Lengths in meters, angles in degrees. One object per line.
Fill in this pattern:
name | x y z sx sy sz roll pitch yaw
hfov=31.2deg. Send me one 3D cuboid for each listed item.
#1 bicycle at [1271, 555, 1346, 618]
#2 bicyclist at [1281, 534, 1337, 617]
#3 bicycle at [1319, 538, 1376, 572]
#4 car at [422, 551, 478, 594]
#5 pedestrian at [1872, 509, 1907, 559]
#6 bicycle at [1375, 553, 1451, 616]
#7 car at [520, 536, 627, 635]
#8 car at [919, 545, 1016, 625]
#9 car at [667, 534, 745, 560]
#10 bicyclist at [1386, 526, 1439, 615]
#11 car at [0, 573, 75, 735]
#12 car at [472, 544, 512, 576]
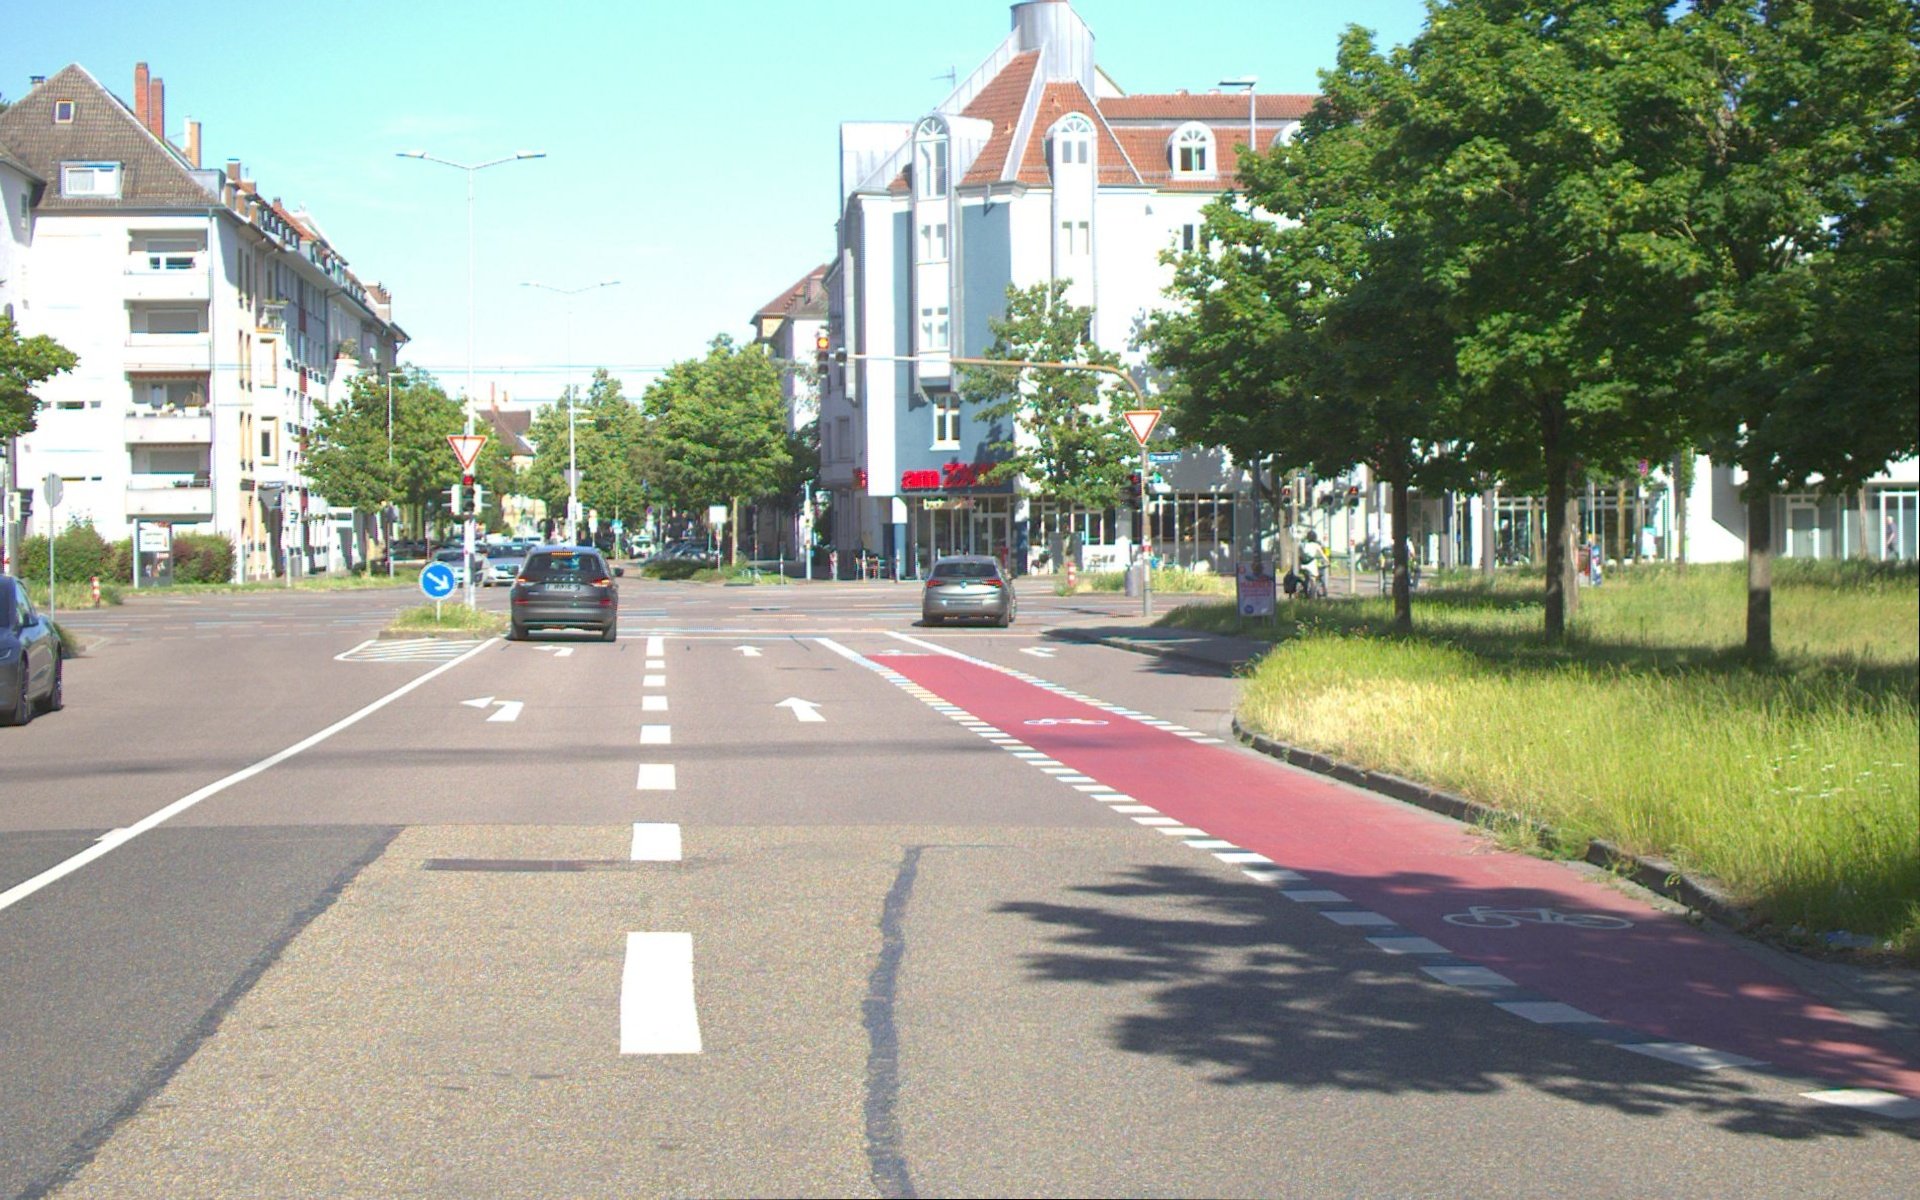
bicycle | 7.764 -0.311 76.600 0.792 1.343 2.075 -1 1 32
bicyclist | 7.787 -0.559 76.651 0.792 1.818 1.133 -1 1 33
bicycle | 13.557 -1.575 120.257 1.863 1.178 0.562 -1 1 -9
car | -19.050 -1.029 128.456 1.753 1.551 3.731 2 1 -4
pedestrian | 32.319 -2.291 119.573 0.989 1.717 0.654 -1 1 -6
bicycle | 10.127 -0.351 76.826 0.792 1.343 2.258 -1 1 32
car | -6.826 -0.281 60.352 1.753 1.622 4.479 2 1 -7
car | 0.186 -0.327 71.671 1.688 1.572 3.871 2 1 5
car | -12.203 -2.538 164.891 3.566 1.219 1.731 0 0 -10
bicyclist | 10.118 -0.663 76.811 0.792 1.952 1.009 -1 1 33
car | -9.883 0.503 33.990 1.687 1.463 4.548 -1 1 -8
car | -23.569 -2.020 173.232 1.753 1.551 3.731 2 1 -4
